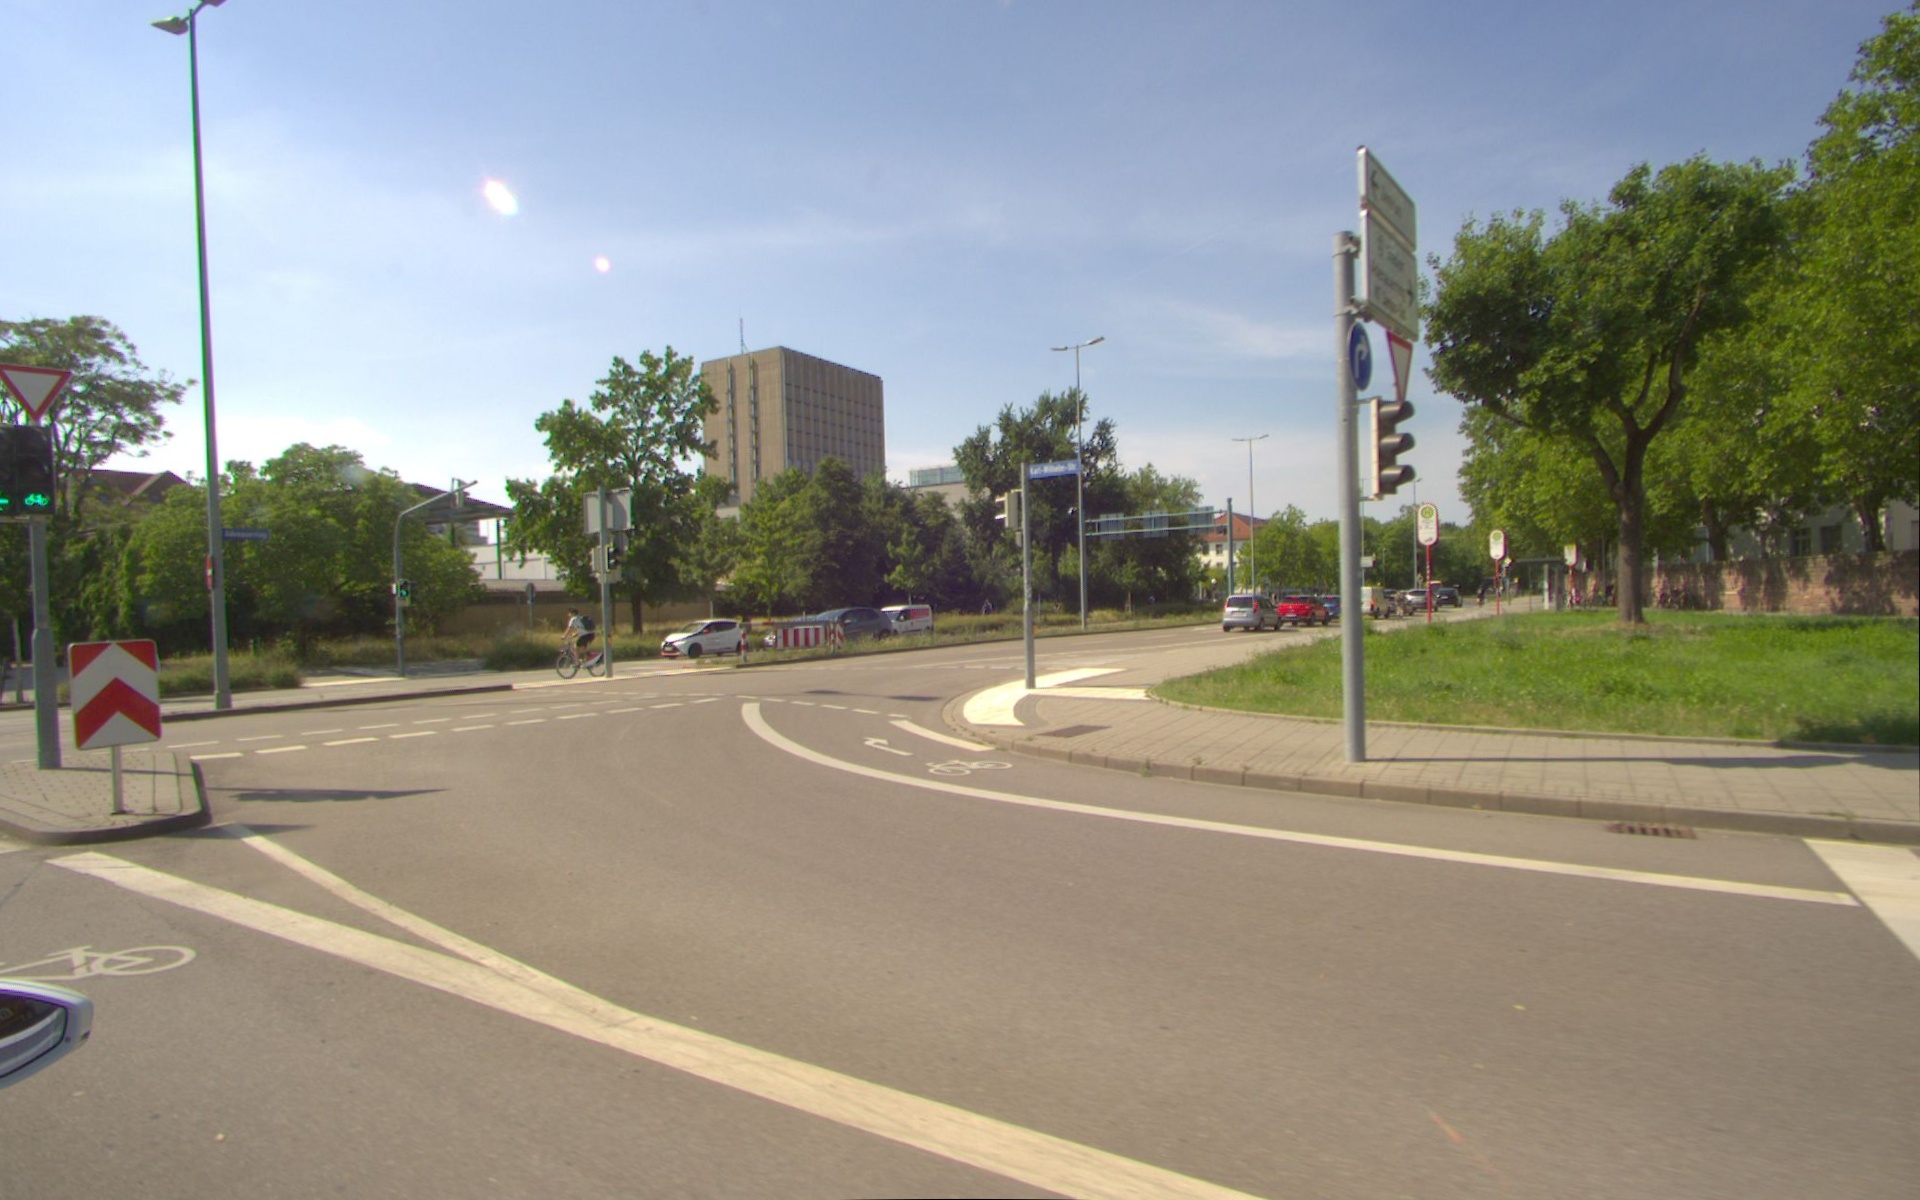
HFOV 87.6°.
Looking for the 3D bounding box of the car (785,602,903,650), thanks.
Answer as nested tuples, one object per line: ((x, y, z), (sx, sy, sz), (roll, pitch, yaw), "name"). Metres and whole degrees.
((-3.946, 0.877, 34.639), (1.619, 1.424, 4.080), (-3, -1, 37), "car")

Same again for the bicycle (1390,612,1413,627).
((24.924, 1.098, 56.514), (0.554, 0.803, 1.878), (1, 2, 44), "bicycle")

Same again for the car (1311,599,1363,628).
((20.975, 0.720, 55.632), (1.729, 1.493, 3.973), (-1, 1, 36), "car")

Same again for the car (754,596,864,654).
((-5.913, 0.957, 39.493), (1.976, 2.040, 3.971), (-3, -1, 37), "car")

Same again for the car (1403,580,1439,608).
((34.531, -0.464, 74.939), (1.972, 2.040, 3.977), (-1, 1, 32), "car")

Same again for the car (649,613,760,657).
((-10.074, 1.367, 39.775), (1.972, 1.483, 3.978), (-3, -1, 32), "car")

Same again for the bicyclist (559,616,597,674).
((-10.011, 1.174, 26.239), (1.131, 1.489, 0.492), (-3, -2, 43), "bicyclist")

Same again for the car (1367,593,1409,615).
((28.717, 0.287, 67.154), (1.729, 1.357, 3.973), (-1, 1, 36), "car")

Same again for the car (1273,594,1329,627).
((16.884, 0.497, 49.512), (1.728, 1.528, 3.977), (-1, 1, 32), "car")

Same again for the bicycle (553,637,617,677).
((-9.723, 1.452, 25.904), (2.146, 0.928, 0.668), (-1, 1, 44), "bicycle")

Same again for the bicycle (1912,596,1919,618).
((32.065, 0.235, 32.933), (0.334, 0.738, 1.364), (-1, 1, 5), "bicycle")

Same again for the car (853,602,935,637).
((-3.226, 0.939, 49.674), (1.883, 1.590, 4.300), (-1, 0, 32), "car")

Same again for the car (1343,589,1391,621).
((24.844, 0.274, 61.002), (1.729, 1.781, 4.402), (-1, 1, 36), "car")

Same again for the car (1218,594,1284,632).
((12.855, 0.532, 44.091), (1.728, 1.528, 3.977), (-1, 1, 32), "car")

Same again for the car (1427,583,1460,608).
((41.503, -0.426, 85.876), (1.973, 2.040, 3.975), (-1, 1, 34), "car")

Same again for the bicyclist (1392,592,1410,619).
((24.875, 0.290, 56.472), (0.558, 1.494, 1.158), (0, 1, 44), "bicyclist")
